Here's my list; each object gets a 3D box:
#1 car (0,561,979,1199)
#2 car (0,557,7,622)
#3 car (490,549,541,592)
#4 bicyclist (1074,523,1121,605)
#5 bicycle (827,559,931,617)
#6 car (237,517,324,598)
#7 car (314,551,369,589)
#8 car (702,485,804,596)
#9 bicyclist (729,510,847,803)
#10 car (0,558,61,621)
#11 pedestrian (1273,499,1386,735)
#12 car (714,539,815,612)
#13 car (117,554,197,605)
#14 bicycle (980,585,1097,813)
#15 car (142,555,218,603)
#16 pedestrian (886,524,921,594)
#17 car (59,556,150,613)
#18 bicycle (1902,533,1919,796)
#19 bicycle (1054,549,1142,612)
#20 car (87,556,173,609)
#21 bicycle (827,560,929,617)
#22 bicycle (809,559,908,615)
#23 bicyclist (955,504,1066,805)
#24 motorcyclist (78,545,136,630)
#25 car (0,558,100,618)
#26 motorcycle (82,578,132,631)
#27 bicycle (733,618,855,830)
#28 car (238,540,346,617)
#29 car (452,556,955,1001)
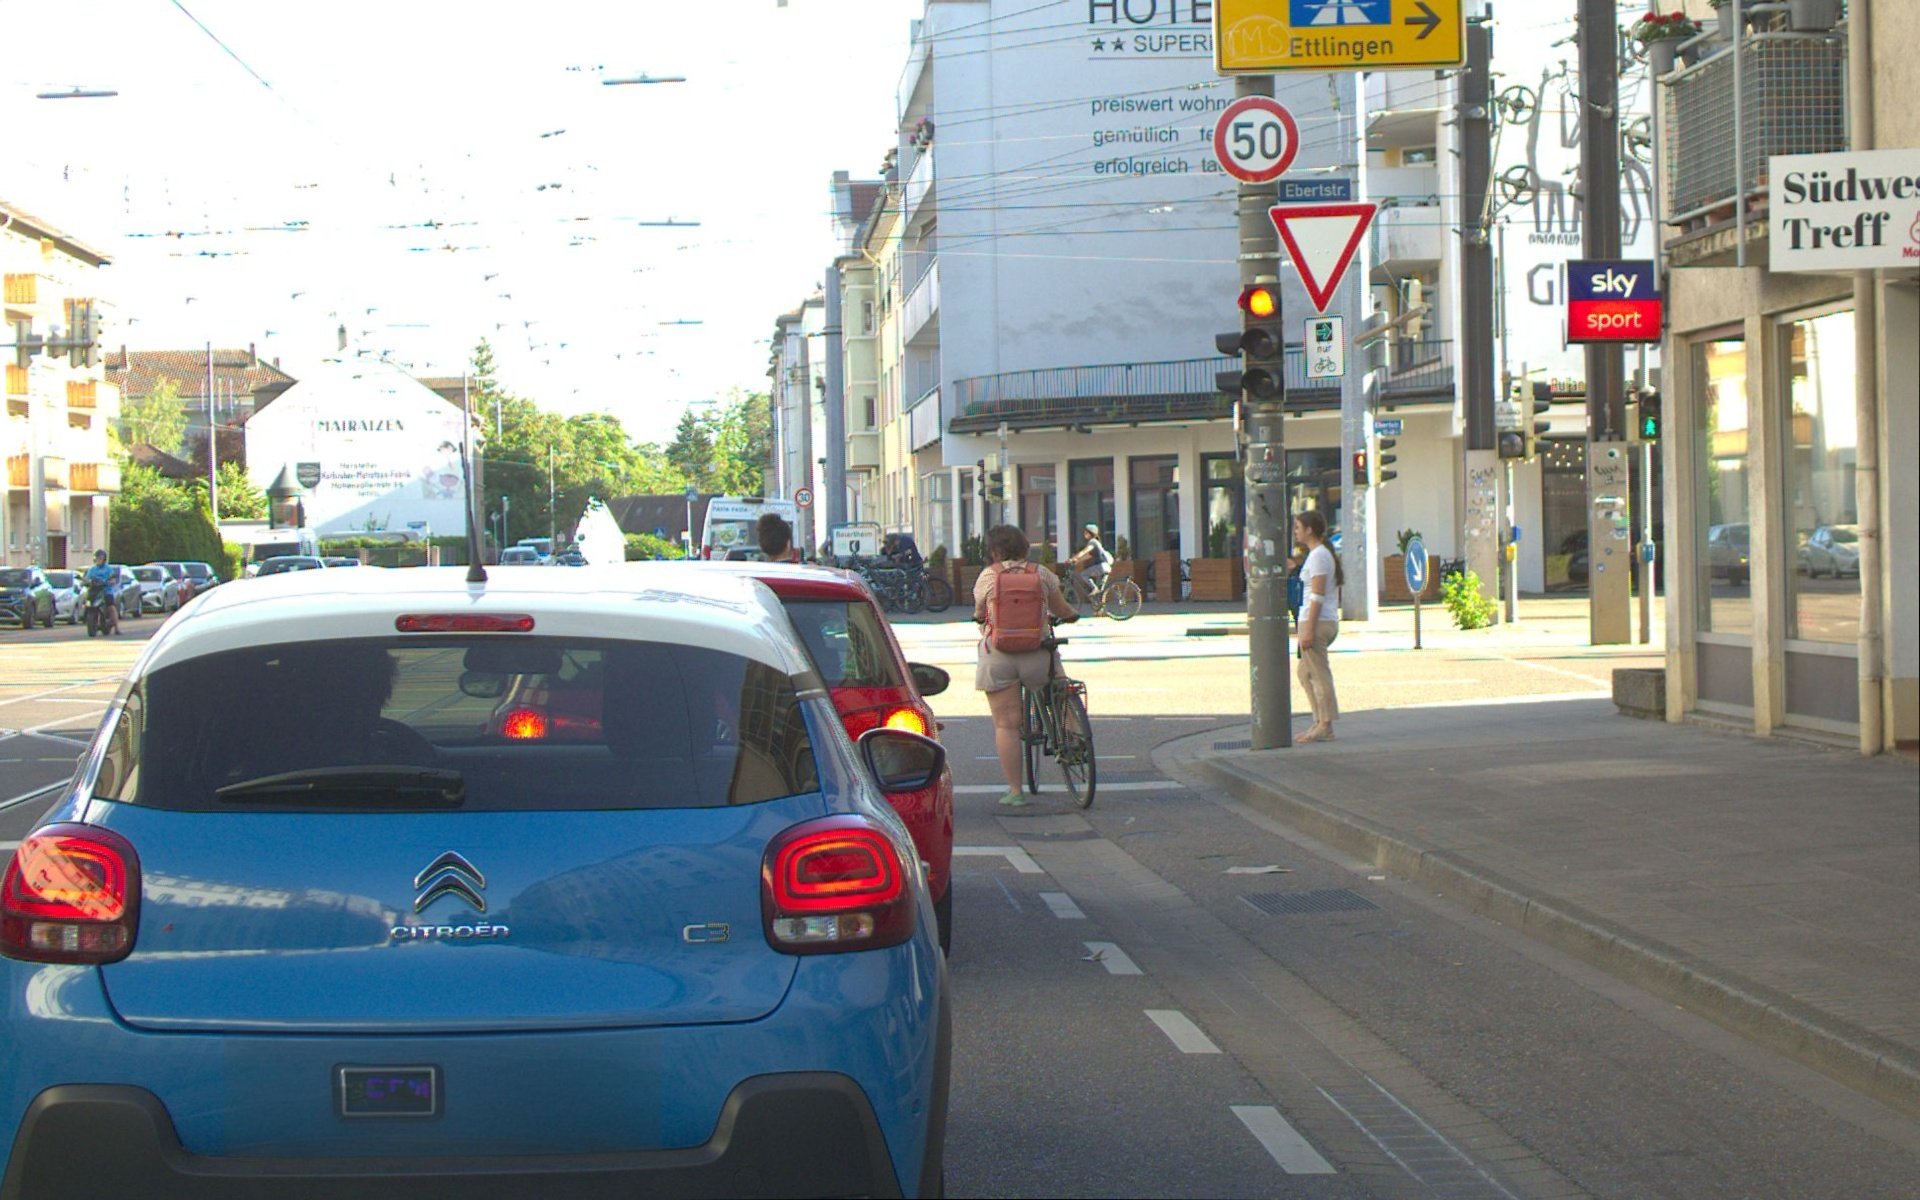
[{"bbox_3d":[-0.953,0.671,7.372,1.680,1.457,4.001,0,1,-4],"label":"car"},{"bbox_3d":[-23.318,-0.194,79.221,1.950,1.514,4.001,-1,1,-6],"label":"car"},{"bbox_3d":[-22.047,-1.496,170.837,2.338,2.032,5.051,-1,1,-6],"label":"car"},{"bbox_3d":[2.447,-0.641,61.113,0.727,1.429,0.605,-1,1,10],"label":"bicyclist"},{"bbox_3d":[-1.554,-0.237,65.811,1.904,1.061,0.642,-1,1,-7],"label":"bicycle"},{"bbox_3d":[-23.661,-1.502,119.931,2.493,2.703,5.839,-1,1,-7],"label":"car"},{"bbox_3d":[-25.977,-1.278,144.565,1.950,1.514,4.001,-1,1,-6],"label":"car"},{"bbox_3d":[-4.429,-1.273,73.238,2.079,2.262,5.652,0,1,-4],"label":"car"},{"bbox_3d":[-0.989,0.309,19.636,0.616,1.624,0.760,-1,1,-4],"label":"bicyclist"},{"bbox_3d":[-23.783,-0.267,85.885,1.950,1.514,4.001,-1,1,-6],"label":"car"},{"bbox_3d":[2.607,0.113,24.307,0.751,1.629,0.740,-1,1,6],"label":"pedestrian"},{"bbox_3d":[-3.879,-0.511,67.802,1.786,1.354,3.915,-1,1,-6],"label":"car"},{"bbox_3d":[-25.358,-0.672,108.653,1.950,1.514,4.001,-1,1,-6],"label":"car"},{"bbox_3d":[0.453,0.563,20.639,0.613,1.260,1.911,-1,1,-1],"label":"bicycle"},{"bbox_3d":[-26.068,-0.720,114.995,1.950,1.514,4.001,-1,1,-6],"label":"car"},{"bbox_3d":[-1.150,-0.840,70.255,0.525,1.415,0.546,-1,1,20],"label":"pedestrian"},{"bbox_3d":[-24.457,-0.457,98.370,1.950,1.514,4.001,-1,1,-6],"label":"car"},{"bbox_3d":[4.920,0.317,15.750,0.640,1.260,1.911,-1,1,-1],"label":"bicycle"},{"bbox_3d":[2.460,-0.349,61.119,1.489,1.087,0.605,-1,1,8],"label":"bicycle"},{"bbox_3d":[-24.924,-0.541,103.374,1.950,1.514,4.001,-1,1,-6],"label":"car"},{"bbox_3d":[-1.604,-0.231,67.117,1.904,1.061,0.642,-1,1,-7],"label":"bicycle"},{"bbox_3d":[-2.023,-0.269,68.310,1.904,1.061,0.642,-1,1,-7],"label":"bicycle"},{"bbox_3d":[0.296,0.307,20.597,0.600,1.740,1.084,-1,1,-1],"label":"bicyclist"},{"bbox_3d":[-16.671,-0.251,67.209,0.991,1.625,0.739,-1,1,-9],"label":"motorcyclist"},{"bbox_3d":[-24.304,-0.336,91.943,1.950,1.514,4.001,-1,1,-6],"label":"car"},{"bbox_3d":[-16.691,0.074,67.283,0.751,0.973,2.098,-1,1,-9],"label":"motorcycle"},{"bbox_3d":[-0.972,0.683,19.746,0.616,1.099,1.886,-1,1,-5],"label":"bicycle"},{"bbox_3d":[-14.932,-0.519,77.022,2.004,1.622,5.054,-1,1,-7],"label":"car"},{"bbox_3d":[-1.000,0.580,13.582,1.680,1.457,4.001,0,1,-4],"label":"car"}]
